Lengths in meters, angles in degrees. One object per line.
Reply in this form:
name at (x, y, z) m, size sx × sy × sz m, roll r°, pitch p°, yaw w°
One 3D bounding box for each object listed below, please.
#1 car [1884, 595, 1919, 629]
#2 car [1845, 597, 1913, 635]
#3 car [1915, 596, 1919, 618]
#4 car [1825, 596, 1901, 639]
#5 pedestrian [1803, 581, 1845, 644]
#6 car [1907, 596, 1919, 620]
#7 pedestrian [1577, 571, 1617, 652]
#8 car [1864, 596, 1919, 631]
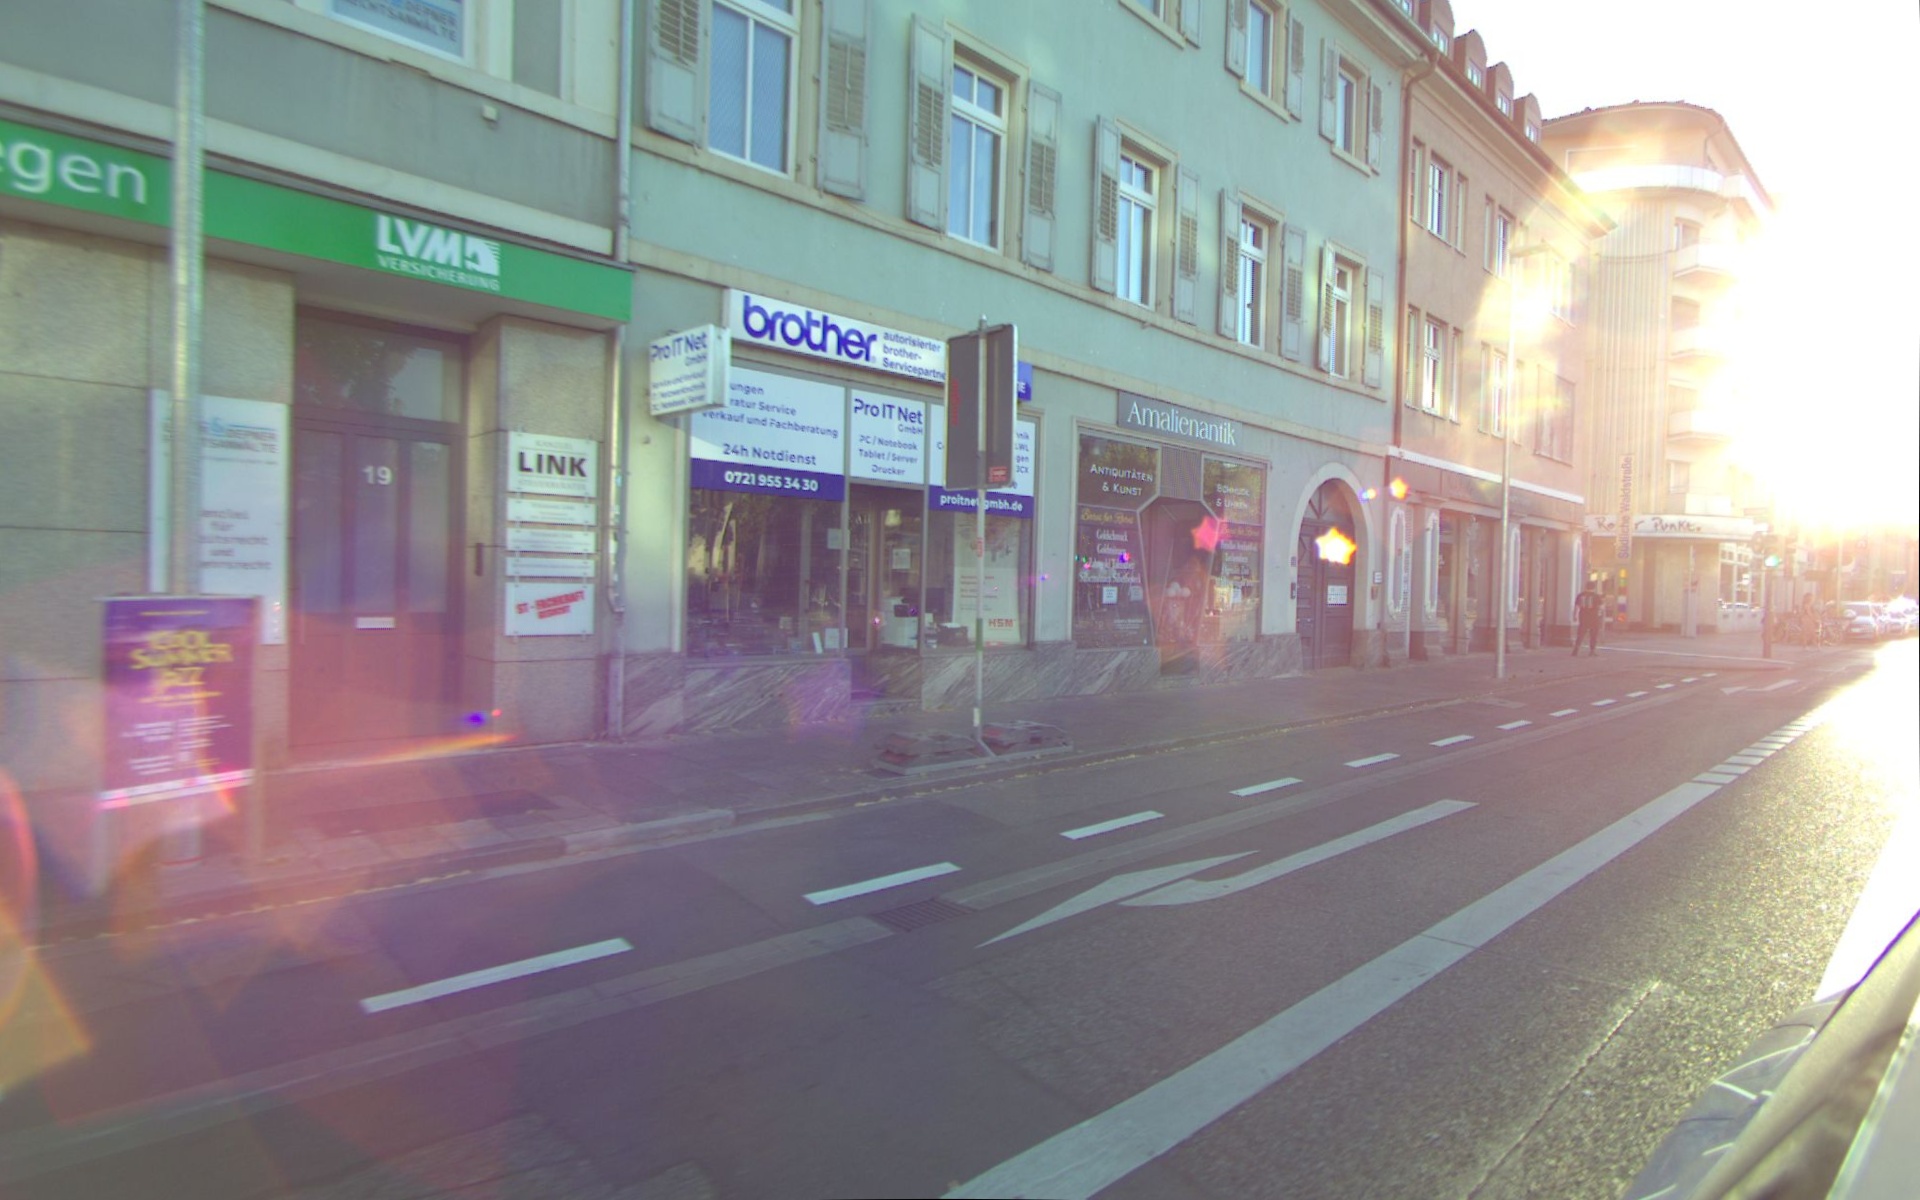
car at (48.521, 0.602, 51.413) m, size 4.433 × 1.668 × 1.996 m, roll 0°, pitch 0°, yaw -43°
car at (40.113, 0.662, 44.146) m, size 1.994 × 1.567 × 4.436 m, roll 0°, pitch 0°, yaw 45°
car at (72.100, 0.521, 74.855) m, size 1.994 × 1.567 × 4.436 m, roll 0°, pitch 0°, yaw 45°
car at (35.541, 0.643, 39.804) m, size 1.994 × 1.567 × 4.436 m, roll 0°, pitch 0°, yaw 45°
pedestrian at (24.550, 0.350, 28.767) m, size 0.689 × 1.768 × 0.840 m, roll 1°, pitch -1°, yaw -44°
car at (63.093, 0.507, 65.875) m, size 1.994 × 1.567 × 4.436 m, roll 0°, pitch 0°, yaw 45°
pedestrian at (14.666, 0.242, 23.305) m, size 0.667 × 1.806 × 0.714 m, roll 3°, pitch 3°, yaw 31°
car at (44.181, 0.619, 47.643) m, size 4.433 × 1.567 × 1.996 m, roll 0°, pitch 0°, yaw -43°
